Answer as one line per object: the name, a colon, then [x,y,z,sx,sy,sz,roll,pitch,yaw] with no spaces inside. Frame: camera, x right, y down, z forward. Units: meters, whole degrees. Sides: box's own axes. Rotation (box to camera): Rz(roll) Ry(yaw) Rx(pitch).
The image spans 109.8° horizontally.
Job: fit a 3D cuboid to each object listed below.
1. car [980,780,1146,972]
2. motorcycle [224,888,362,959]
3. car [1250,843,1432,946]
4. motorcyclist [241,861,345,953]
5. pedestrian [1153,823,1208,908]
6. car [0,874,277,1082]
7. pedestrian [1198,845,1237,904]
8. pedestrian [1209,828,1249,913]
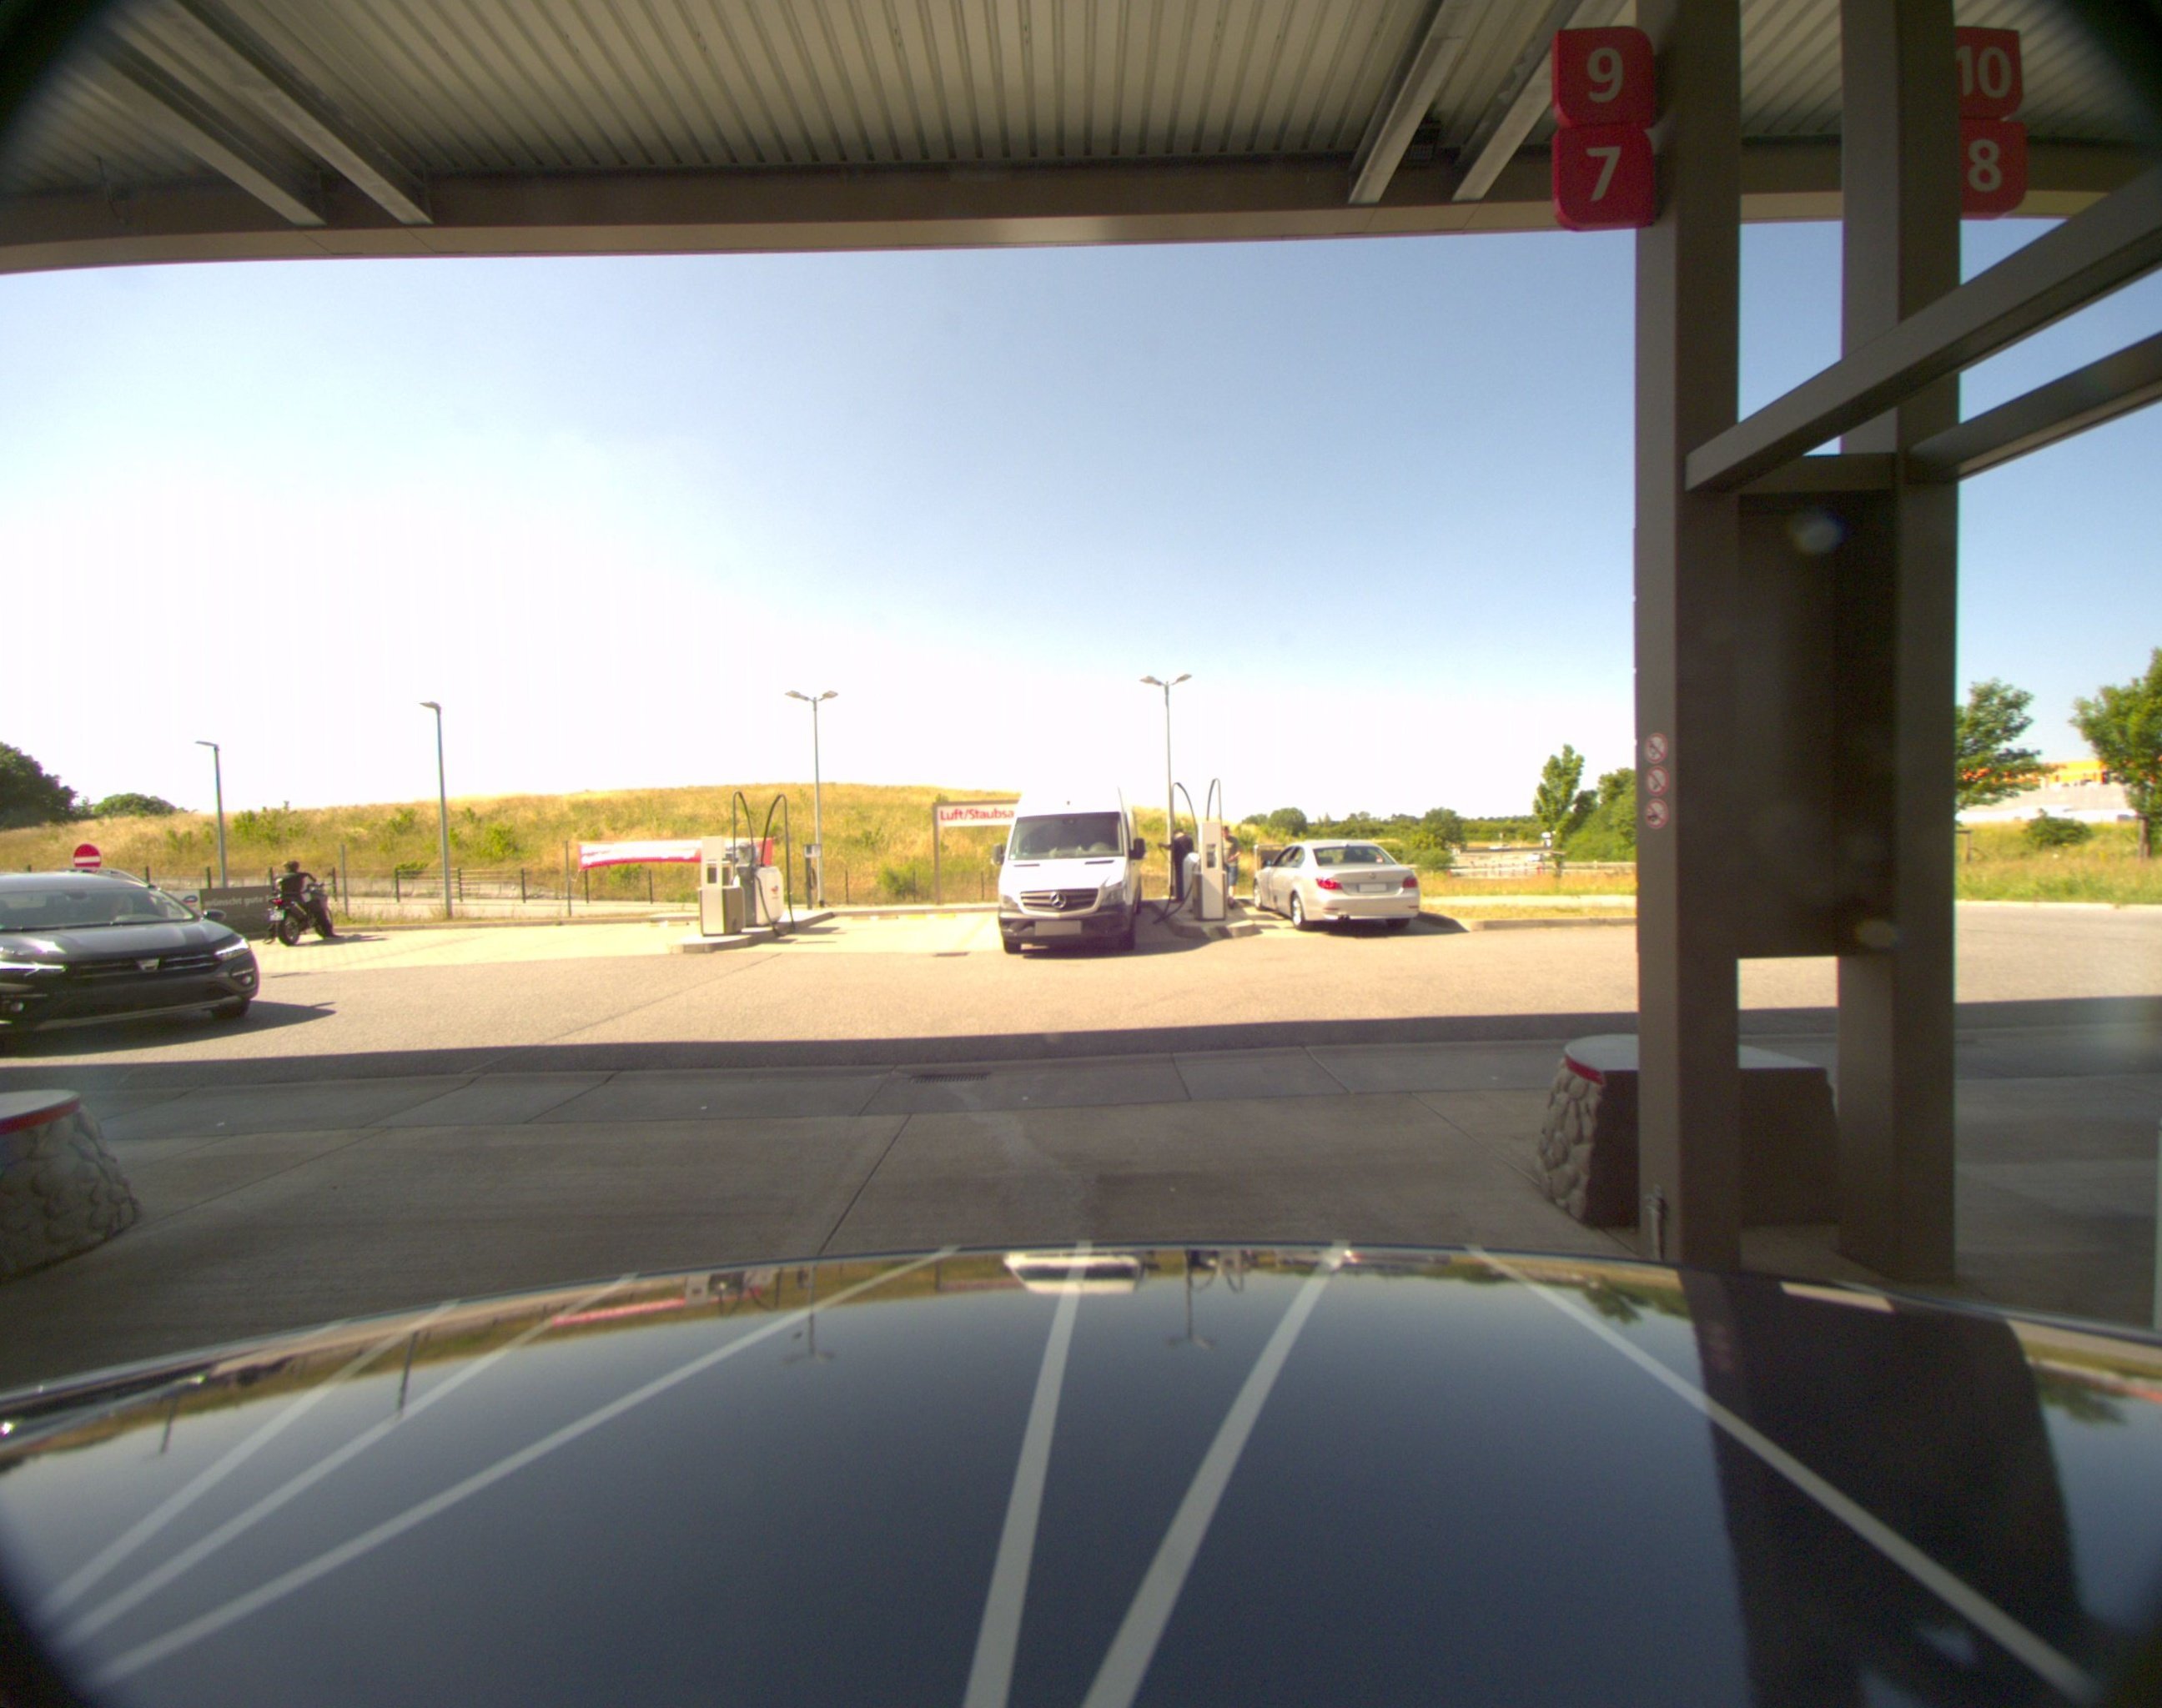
car: [0.050,0.127,13.712,1.997,2.557,7.030,-1,3,6]
motorcycle: [-15.462,1.309,15.026,1.047,1.100,2.410,-2,2,-25]
car: [4.373,0.571,13.530,1.792,1.420,4.320,-2,2,1]
motorcyclist: [-15.445,1.008,14.944,1.036,1.678,1.096,-2,1,-25]
pedestrian: [2.122,0.226,16.209,0.710,1.760,0.843,-3,2,-44]
car: [-10.748,1.092,7.863,4.621,1.635,1.746,-1,1,23]
pedestrian: [3.077,0.452,17.111,0.576,1.299,0.670,-1,2,40]
pedestrian: [3.128,0.336,16.164,0.708,1.739,0.845,-1,1,5]
